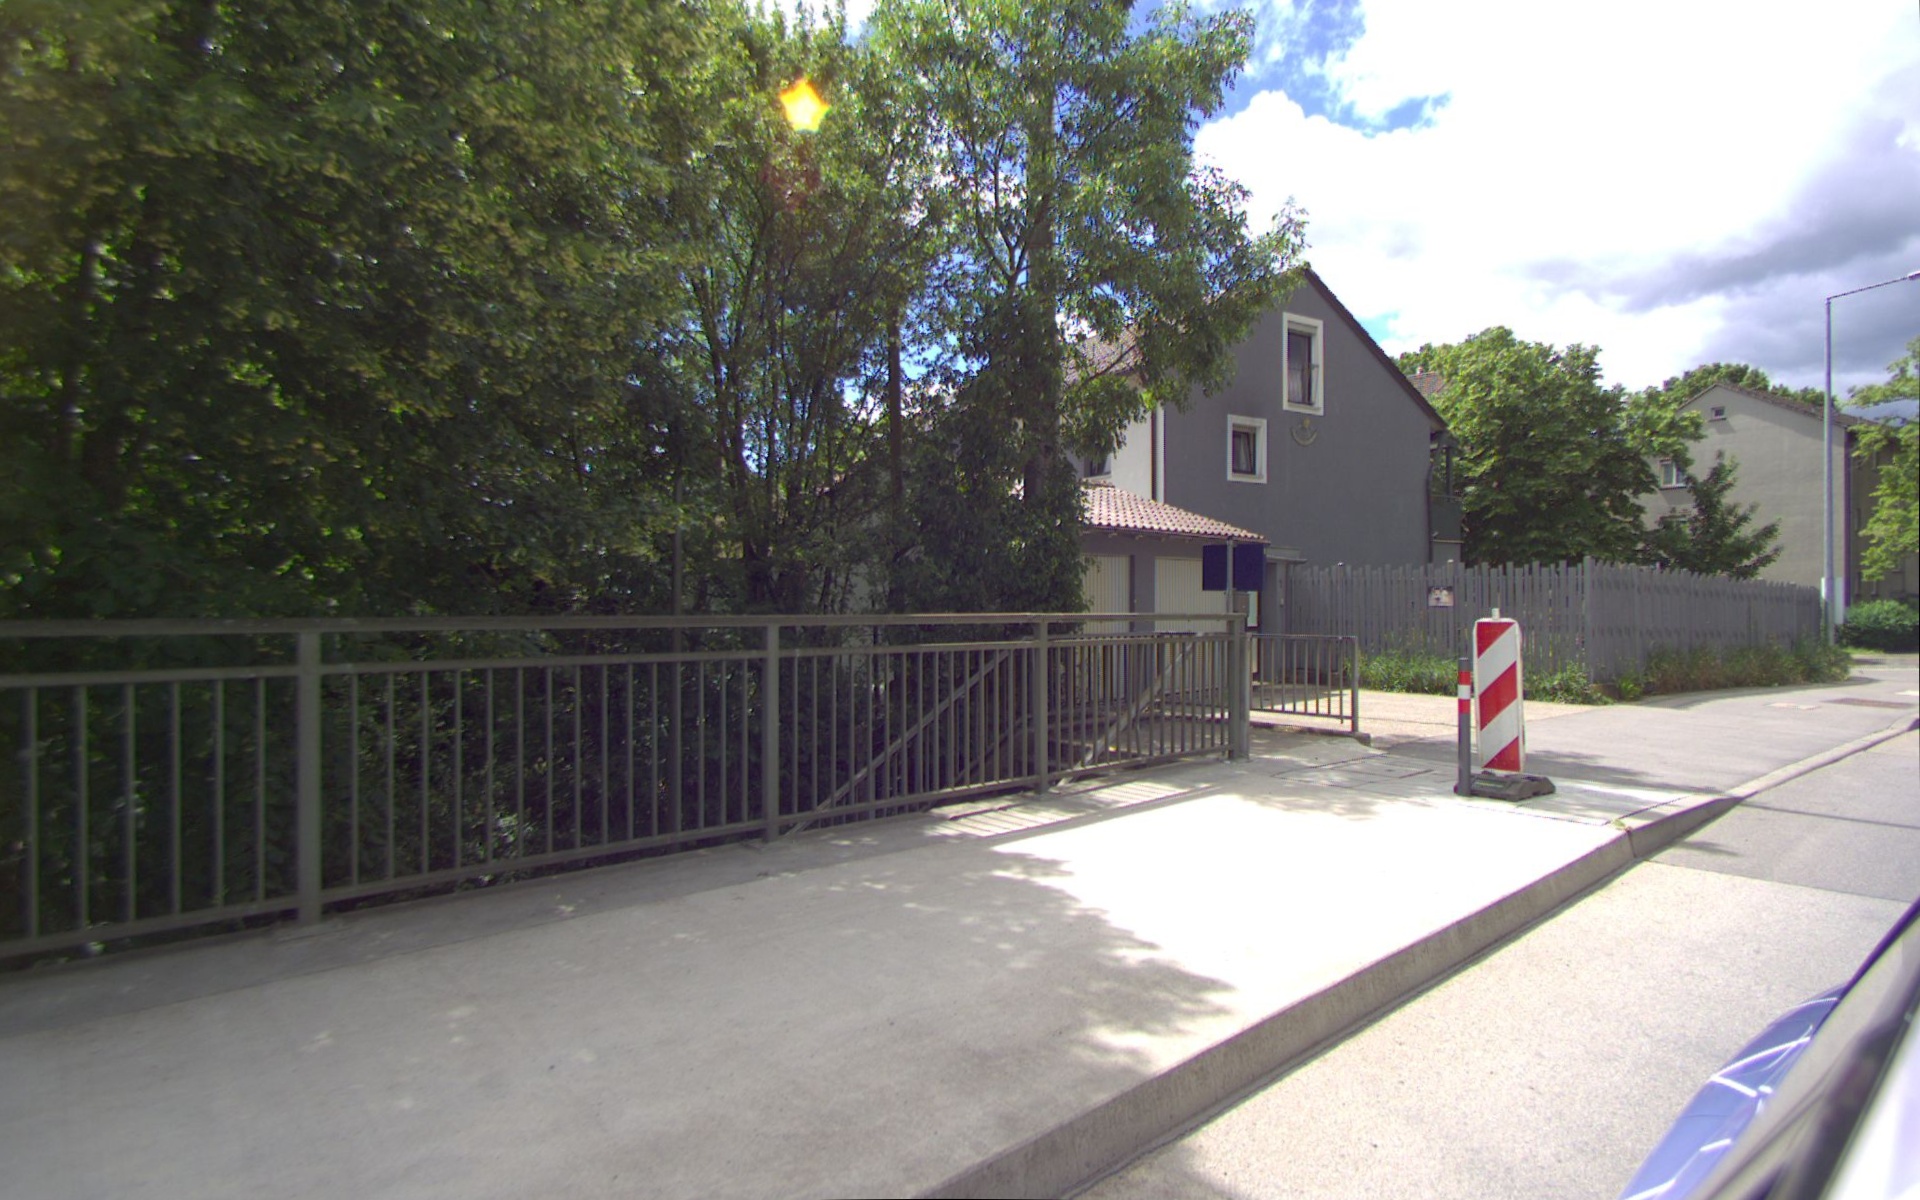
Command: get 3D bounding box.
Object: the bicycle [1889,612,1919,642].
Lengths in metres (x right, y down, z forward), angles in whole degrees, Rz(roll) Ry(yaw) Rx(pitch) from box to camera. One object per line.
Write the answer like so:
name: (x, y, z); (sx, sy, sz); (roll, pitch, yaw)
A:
bicycle: (42.055, 1.175, 44.136); (0.667, 1.298, 2.176); (0, 0, -28)

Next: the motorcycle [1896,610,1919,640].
motorcycle: (42.718, 1.120, 44.497); (0.667, 1.298, 2.214); (0, 0, -28)
